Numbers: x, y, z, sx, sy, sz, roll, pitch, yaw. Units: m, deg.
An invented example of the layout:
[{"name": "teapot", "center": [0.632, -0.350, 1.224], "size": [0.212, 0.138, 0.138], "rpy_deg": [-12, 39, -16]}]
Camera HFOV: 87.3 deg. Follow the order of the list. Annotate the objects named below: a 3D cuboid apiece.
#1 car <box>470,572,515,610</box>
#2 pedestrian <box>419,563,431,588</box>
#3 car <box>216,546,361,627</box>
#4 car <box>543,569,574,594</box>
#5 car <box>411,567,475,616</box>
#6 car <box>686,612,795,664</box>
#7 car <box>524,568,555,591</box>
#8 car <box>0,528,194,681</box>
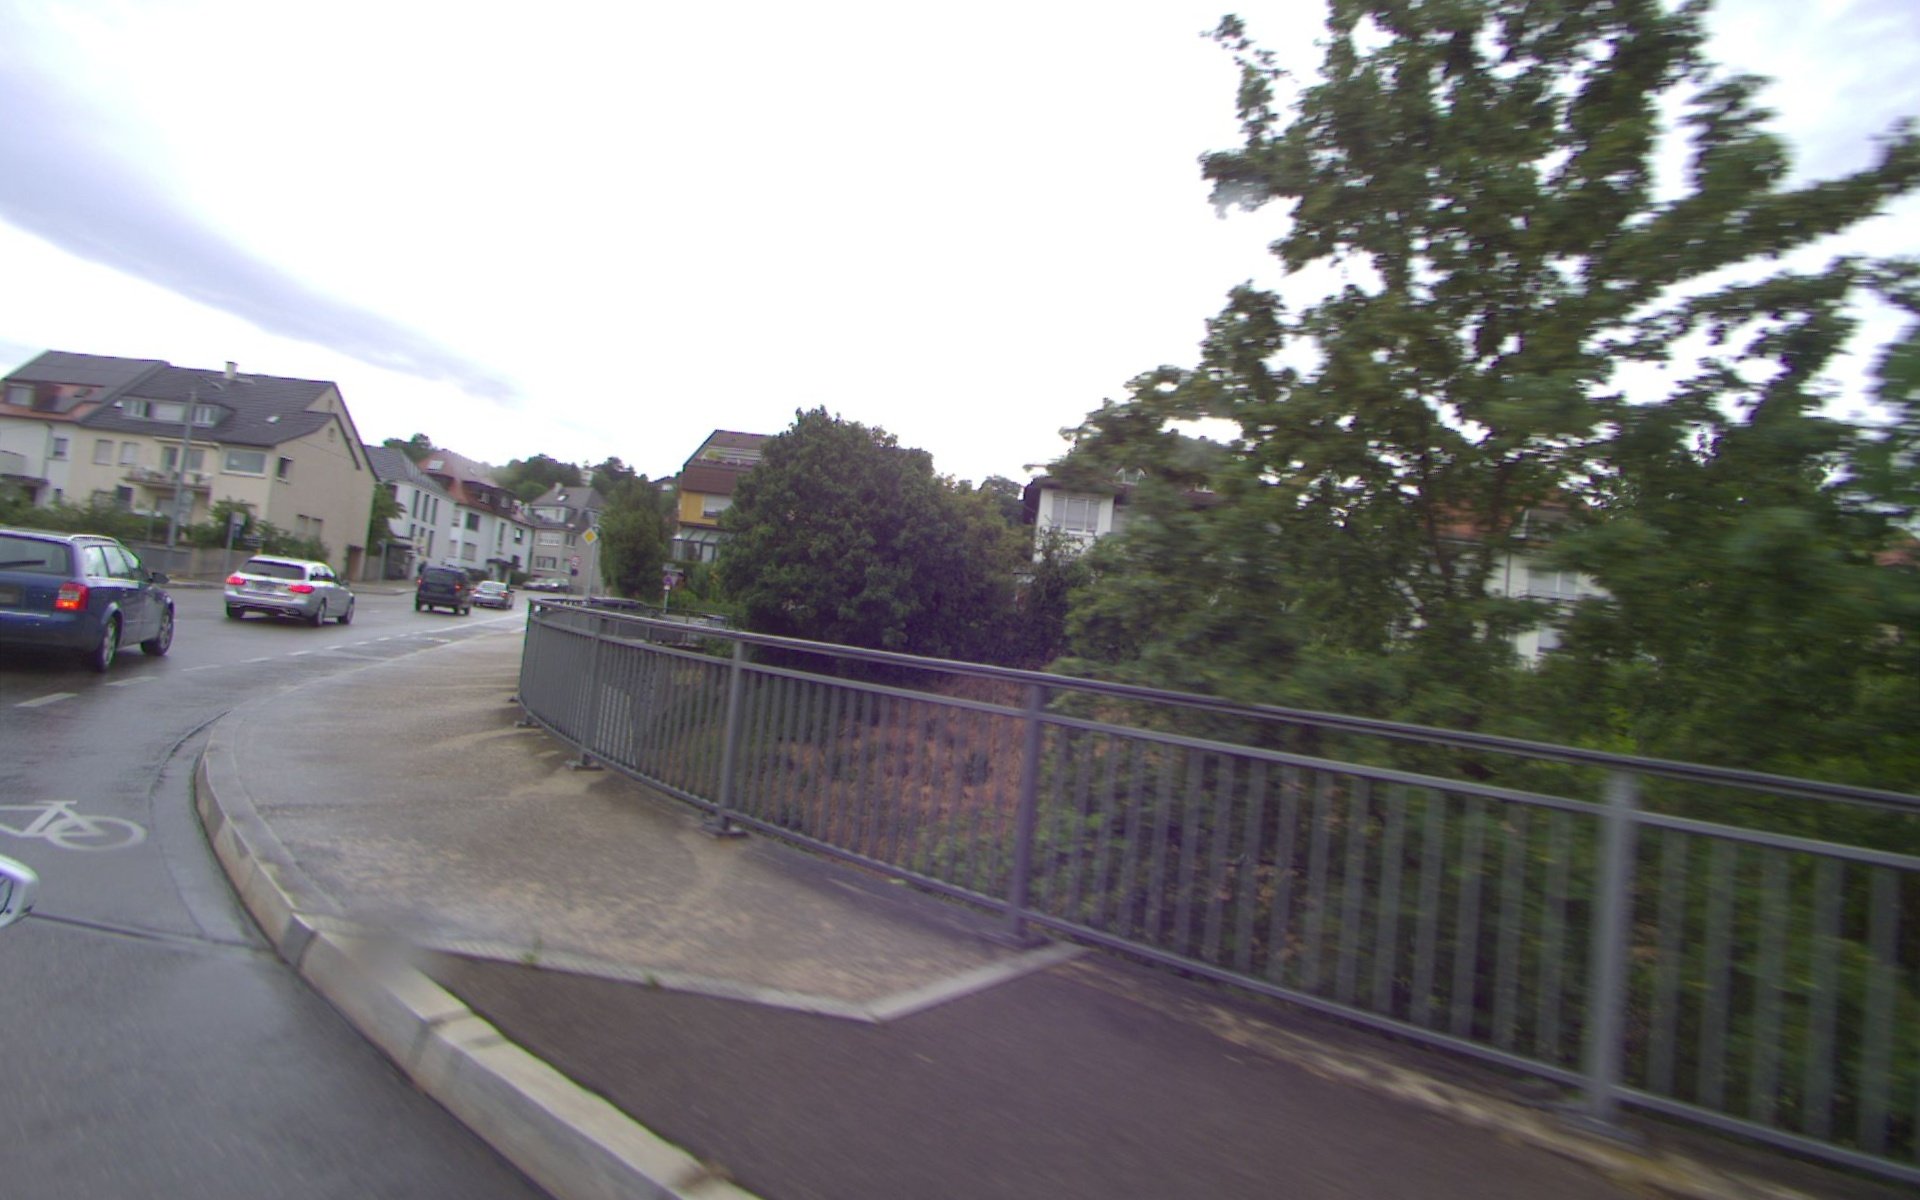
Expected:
[{"name": "car", "center": [-25.739, -0.500, 55.524], "size": [1.805, 1.749, 3.768], "rpy_deg": [11, -3, -22]}, {"name": "pedestrian", "center": [-37.573, -1.718, 70.657], "size": [0.651, 1.713, 0.577], "rpy_deg": [5, 2, -25]}, {"name": "car", "center": [-15.466, -0.266, 23.420], "size": [1.874, 1.403, 3.982], "rpy_deg": [11, -4, -22]}, {"name": "car", "center": [-41.088, -1.895, 102.996], "size": [1.968, 2.035, 3.996], "rpy_deg": [10, -3, -10]}, {"name": "car", "center": [-21.181, -0.356, 41.353], "size": [1.806, 1.634, 3.766], "rpy_deg": [11, -3, -23]}, {"name": "car", "center": [-8.750, 1.529, 40.097], "size": [3.748, 1.439, 1.815], "rpy_deg": [11, -4, -30]}, {"name": "car", "center": [-45.247, -2.169, 108.223], "size": [1.968, 2.035, 3.996], "rpy_deg": [10, -3, -10]}, {"name": "car", "center": [-10.409, -0.016, 11.498], "size": [1.732, 1.423, 3.978], "rpy_deg": [8, -3, -26]}]
